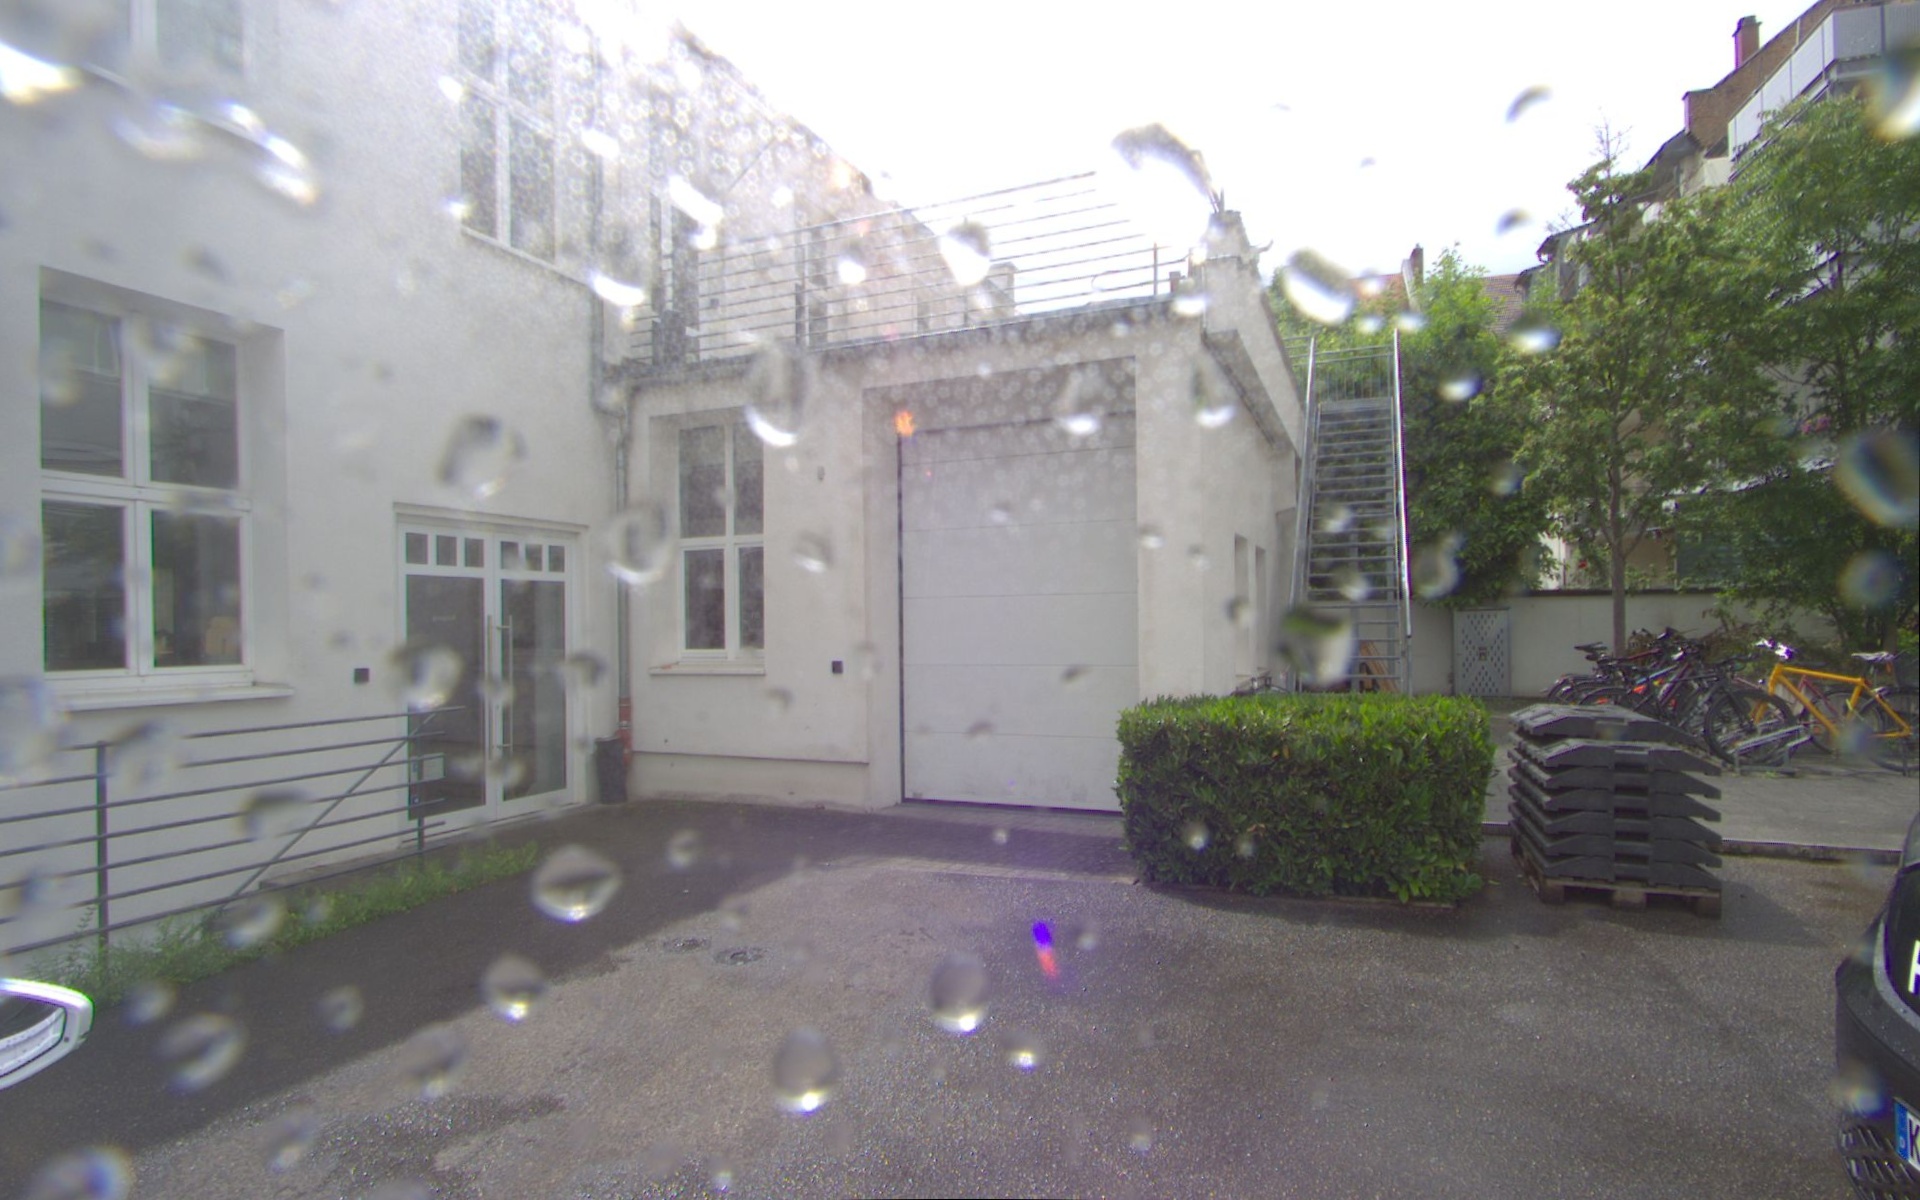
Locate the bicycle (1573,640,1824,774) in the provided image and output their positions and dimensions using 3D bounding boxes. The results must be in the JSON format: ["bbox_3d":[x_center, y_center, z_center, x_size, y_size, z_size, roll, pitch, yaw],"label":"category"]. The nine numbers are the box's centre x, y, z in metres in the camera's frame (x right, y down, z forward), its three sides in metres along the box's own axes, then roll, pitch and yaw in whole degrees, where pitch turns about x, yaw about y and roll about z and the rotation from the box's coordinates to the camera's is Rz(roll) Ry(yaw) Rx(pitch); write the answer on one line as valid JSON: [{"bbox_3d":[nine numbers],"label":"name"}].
[{"bbox_3d":[6.614,0.932,9.060,1.767,1.118,0.404,-1,0,25],"label":"bicycle"}]

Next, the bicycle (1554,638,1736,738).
[{"bbox_3d":[7.999,1.010,11.742,1.724,1.118,0.354,-1,0,17],"label":"bicycle"}]

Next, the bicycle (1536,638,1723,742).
[{"bbox_3d":[7.549,1.000,11.343,1.724,1.118,0.345,-1,0,17],"label":"bicycle"}]

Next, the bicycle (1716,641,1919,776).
[{"bbox_3d":[7.704,0.920,8.696,1.767,1.118,0.366,-1,0,25],"label":"bicycle"}]

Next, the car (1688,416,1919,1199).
[{"bbox_3d":[3.962,0.536,1.094,4.662,1.888,1.968,-2,-2,16],"label":"car"}]

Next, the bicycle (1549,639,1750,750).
[{"bbox_3d":[7.236,0.977,10.567,1.724,1.118,0.332,-1,0,17],"label":"bicycle"}]

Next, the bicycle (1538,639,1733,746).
[{"bbox_3d":[7.323,0.989,10.912,1.724,1.118,0.342,-1,0,17],"label":"bicycle"}]

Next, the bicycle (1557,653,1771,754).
[{"bbox_3d":[7.150,1.036,10.235,1.764,0.980,0.329,-1,0,17],"label":"bicycle"}]

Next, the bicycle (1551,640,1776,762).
[{"bbox_3d":[6.850,0.956,9.834,1.767,1.118,0.353,-1,0,25],"label":"bicycle"}]
